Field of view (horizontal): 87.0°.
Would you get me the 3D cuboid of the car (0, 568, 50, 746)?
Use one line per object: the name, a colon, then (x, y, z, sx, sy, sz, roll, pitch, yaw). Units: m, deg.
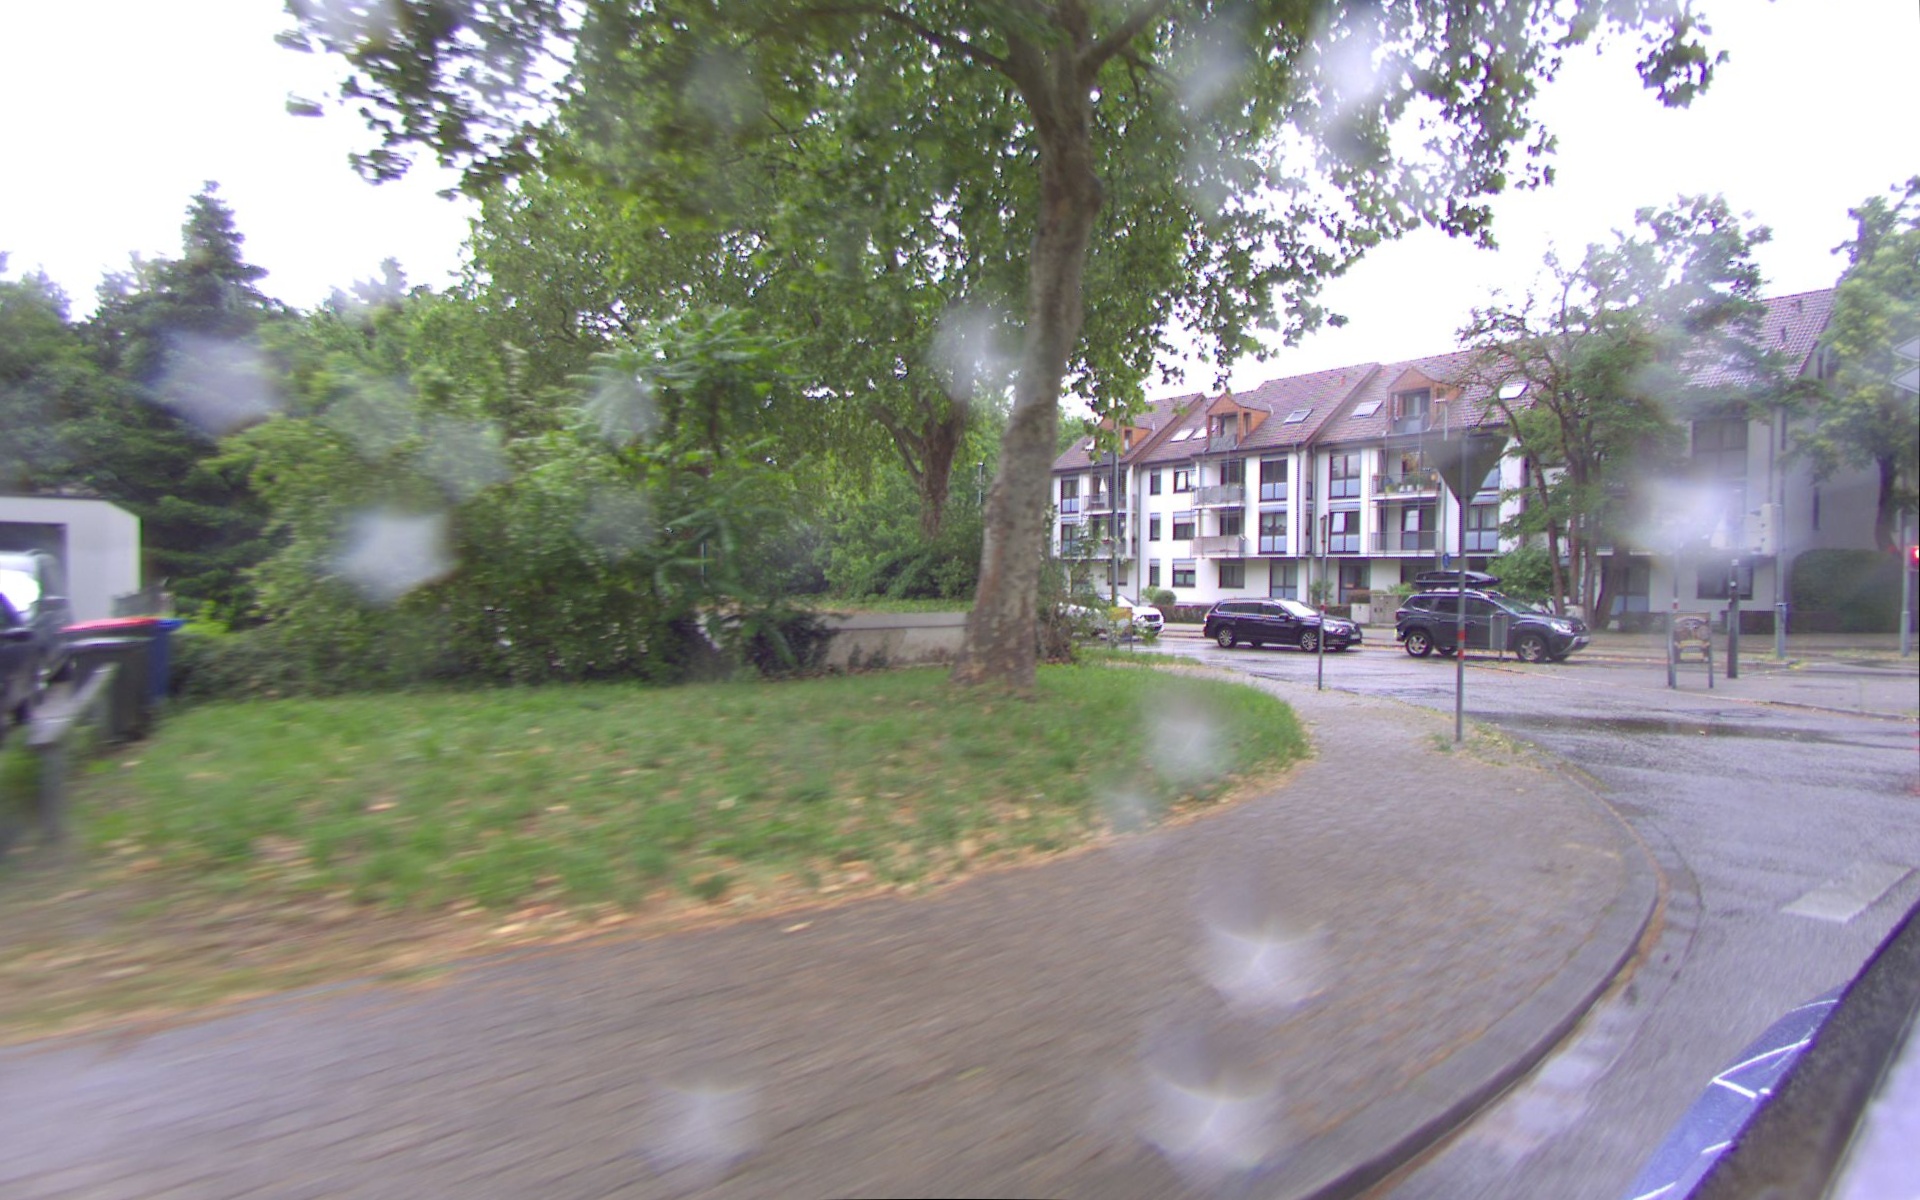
car: (-9.400, 0.470, 8.974, 1.644, 1.464, 3.341, -1, 1, -36)

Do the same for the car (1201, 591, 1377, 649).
car: (9.326, 0.514, 29.004, 1.583, 1.464, 4.617, -4, 3, -41)

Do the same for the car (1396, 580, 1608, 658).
car: (13.023, 0.411, 24.529, 1.680, 1.708, 4.221, -1, 1, -41)

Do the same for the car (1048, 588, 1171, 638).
car: (5.097, 0.391, 34.960, 1.638, 1.564, 4.167, -2, 2, -40)

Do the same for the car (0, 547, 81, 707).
car: (-12.601, 0.245, 12.986, 1.644, 1.817, 4.357, -1, 2, -36)
